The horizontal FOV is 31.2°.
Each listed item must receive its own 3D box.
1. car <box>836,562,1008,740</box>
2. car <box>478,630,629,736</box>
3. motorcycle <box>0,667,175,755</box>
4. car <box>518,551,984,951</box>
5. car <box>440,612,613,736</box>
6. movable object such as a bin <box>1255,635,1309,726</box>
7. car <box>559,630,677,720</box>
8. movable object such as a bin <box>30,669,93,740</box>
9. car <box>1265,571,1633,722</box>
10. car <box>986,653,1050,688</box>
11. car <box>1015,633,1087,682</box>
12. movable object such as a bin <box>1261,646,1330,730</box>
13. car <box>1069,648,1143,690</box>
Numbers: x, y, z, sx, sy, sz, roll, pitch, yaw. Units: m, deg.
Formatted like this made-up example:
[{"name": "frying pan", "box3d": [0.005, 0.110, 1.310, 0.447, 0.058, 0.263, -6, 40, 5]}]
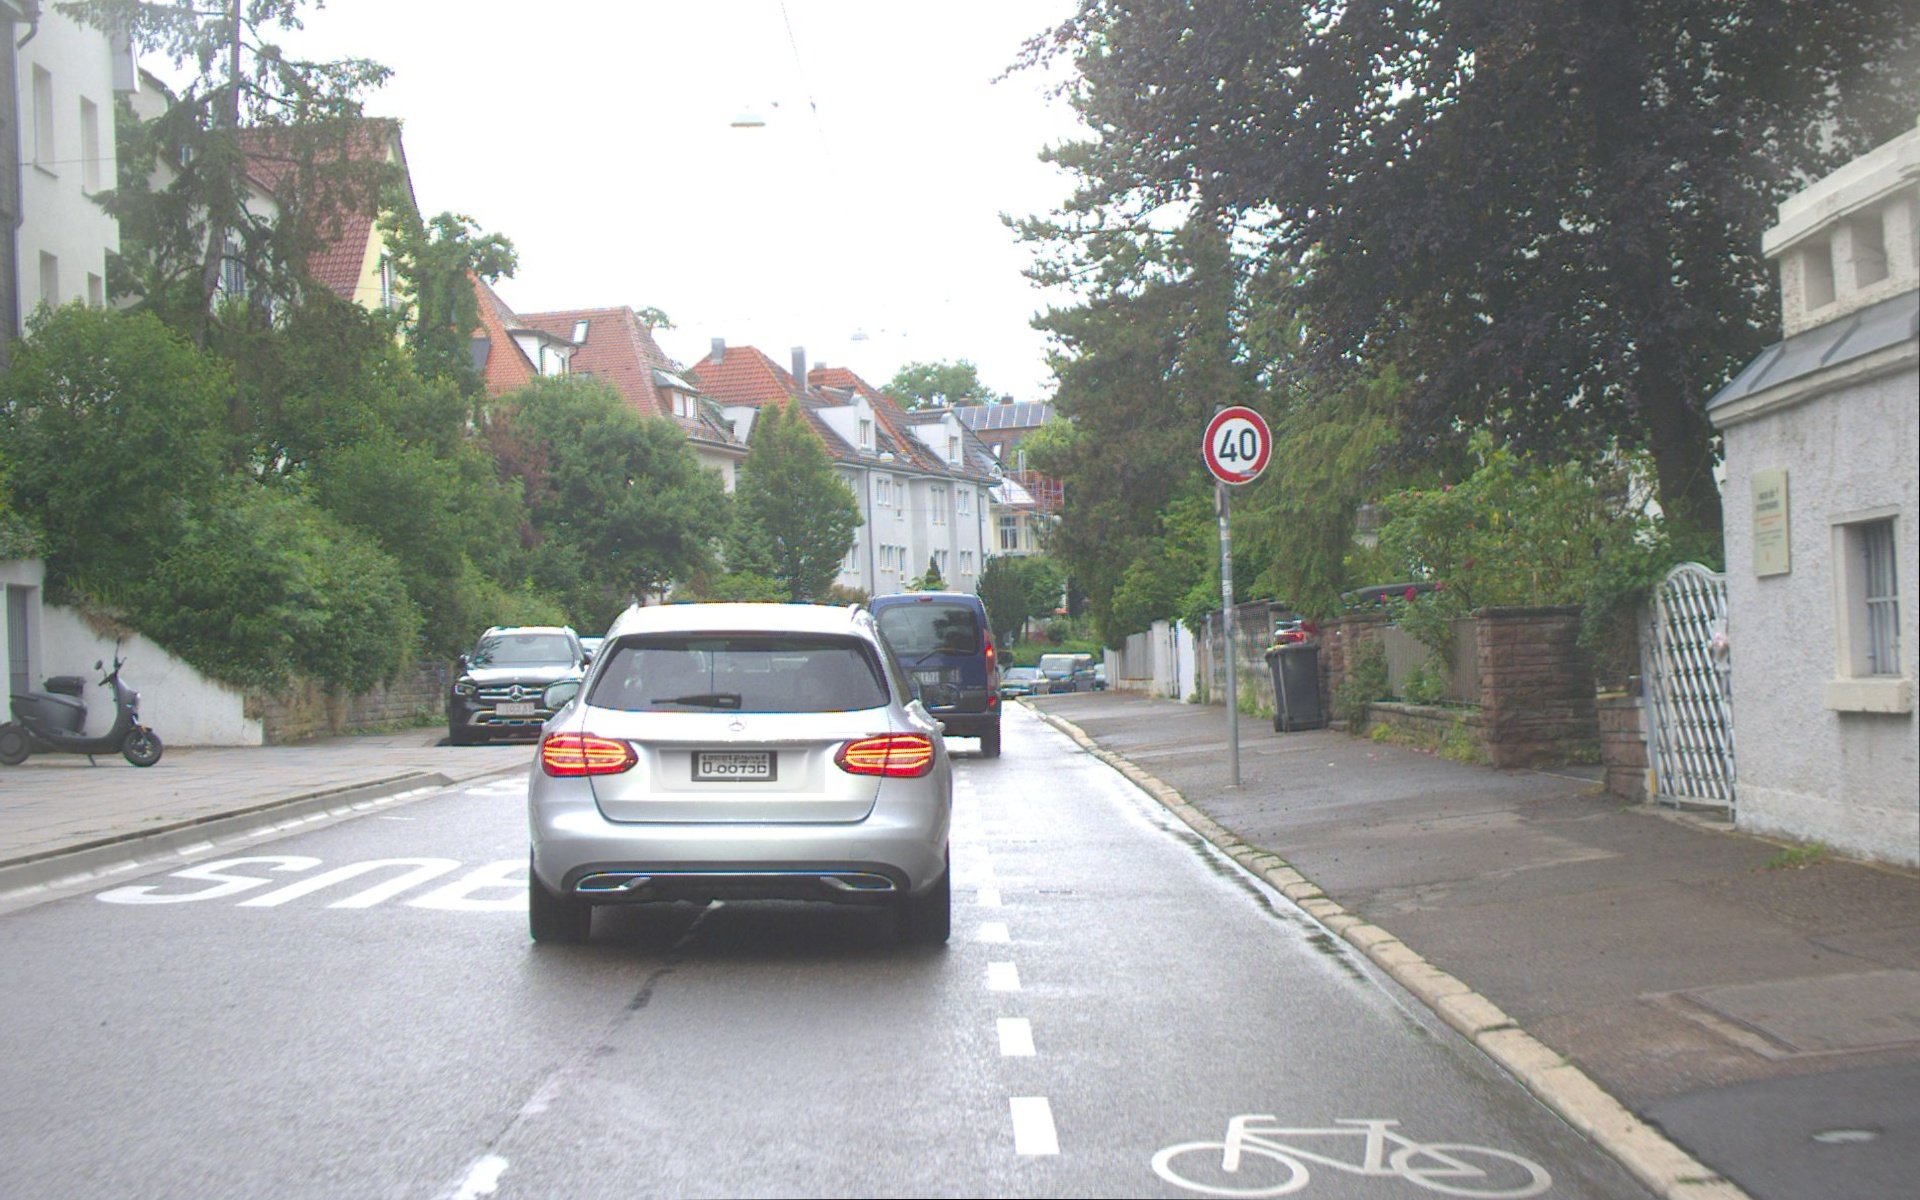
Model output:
[{"name": "car", "box3d": [-0.394, 0.606, 39.184, 1.843, 1.897, 4.000, -1, -2, 0]}, {"name": "car", "box3d": [-6.208, 1.252, 52.883, 1.893, 1.442, 3.814, -1, 1, -1]}, {"name": "motorcycle", "box3d": [-9.209, 1.161, 36.061, 1.794, 0.900, 0.603, 1, -1, -1]}, {"name": "car", "box3d": [-0.919, 0.615, 15.507, 1.816, 1.551, 4.000, -1, -1, -3]}, {"name": "car", "box3d": [-5.981, 1.004, 47.846, 1.893, 1.617, 4.379, -1, -1, -1]}, {"name": "movable object such as a bin", "box3d": [3.469, 0.868, 37.052, 0.494, 0.952, 0.503, -1, 1, -2]}, {"name": "car", "box3d": [-6.170, 1.331, 62.410, 1.756, 1.442, 4.416, -1, 1, -1]}, {"name": "movable object such as a bin", "box3d": [-11.676, 1.351, 44.679, 0.620, 0.886, 0.488, -2, 1, -44]}, {"name": "car", "box3d": [5.673, 0.526, 40.217, 3.987, 1.634, 1.918, -1, 1, 0]}, {"name": "car", "box3d": [2.437, 2.928, 143.586, 1.644, 1.412, 4.609, -1, -1, 14]}, {"name": "car", "box3d": [3.994, 2.516, 149.690, 1.831, 2.049, 5.005, -1, -2, 17]}, {"name": "movable object such as a bin", "box3d": [3.554, 0.926, 36.403, 0.651, 0.853, 0.503, -1, 1, -2]}, {"name": "car", "box3d": [6.654, 3.136, 156.386, 1.995, 1.683, 4.672, -1, 1, 21]}]
